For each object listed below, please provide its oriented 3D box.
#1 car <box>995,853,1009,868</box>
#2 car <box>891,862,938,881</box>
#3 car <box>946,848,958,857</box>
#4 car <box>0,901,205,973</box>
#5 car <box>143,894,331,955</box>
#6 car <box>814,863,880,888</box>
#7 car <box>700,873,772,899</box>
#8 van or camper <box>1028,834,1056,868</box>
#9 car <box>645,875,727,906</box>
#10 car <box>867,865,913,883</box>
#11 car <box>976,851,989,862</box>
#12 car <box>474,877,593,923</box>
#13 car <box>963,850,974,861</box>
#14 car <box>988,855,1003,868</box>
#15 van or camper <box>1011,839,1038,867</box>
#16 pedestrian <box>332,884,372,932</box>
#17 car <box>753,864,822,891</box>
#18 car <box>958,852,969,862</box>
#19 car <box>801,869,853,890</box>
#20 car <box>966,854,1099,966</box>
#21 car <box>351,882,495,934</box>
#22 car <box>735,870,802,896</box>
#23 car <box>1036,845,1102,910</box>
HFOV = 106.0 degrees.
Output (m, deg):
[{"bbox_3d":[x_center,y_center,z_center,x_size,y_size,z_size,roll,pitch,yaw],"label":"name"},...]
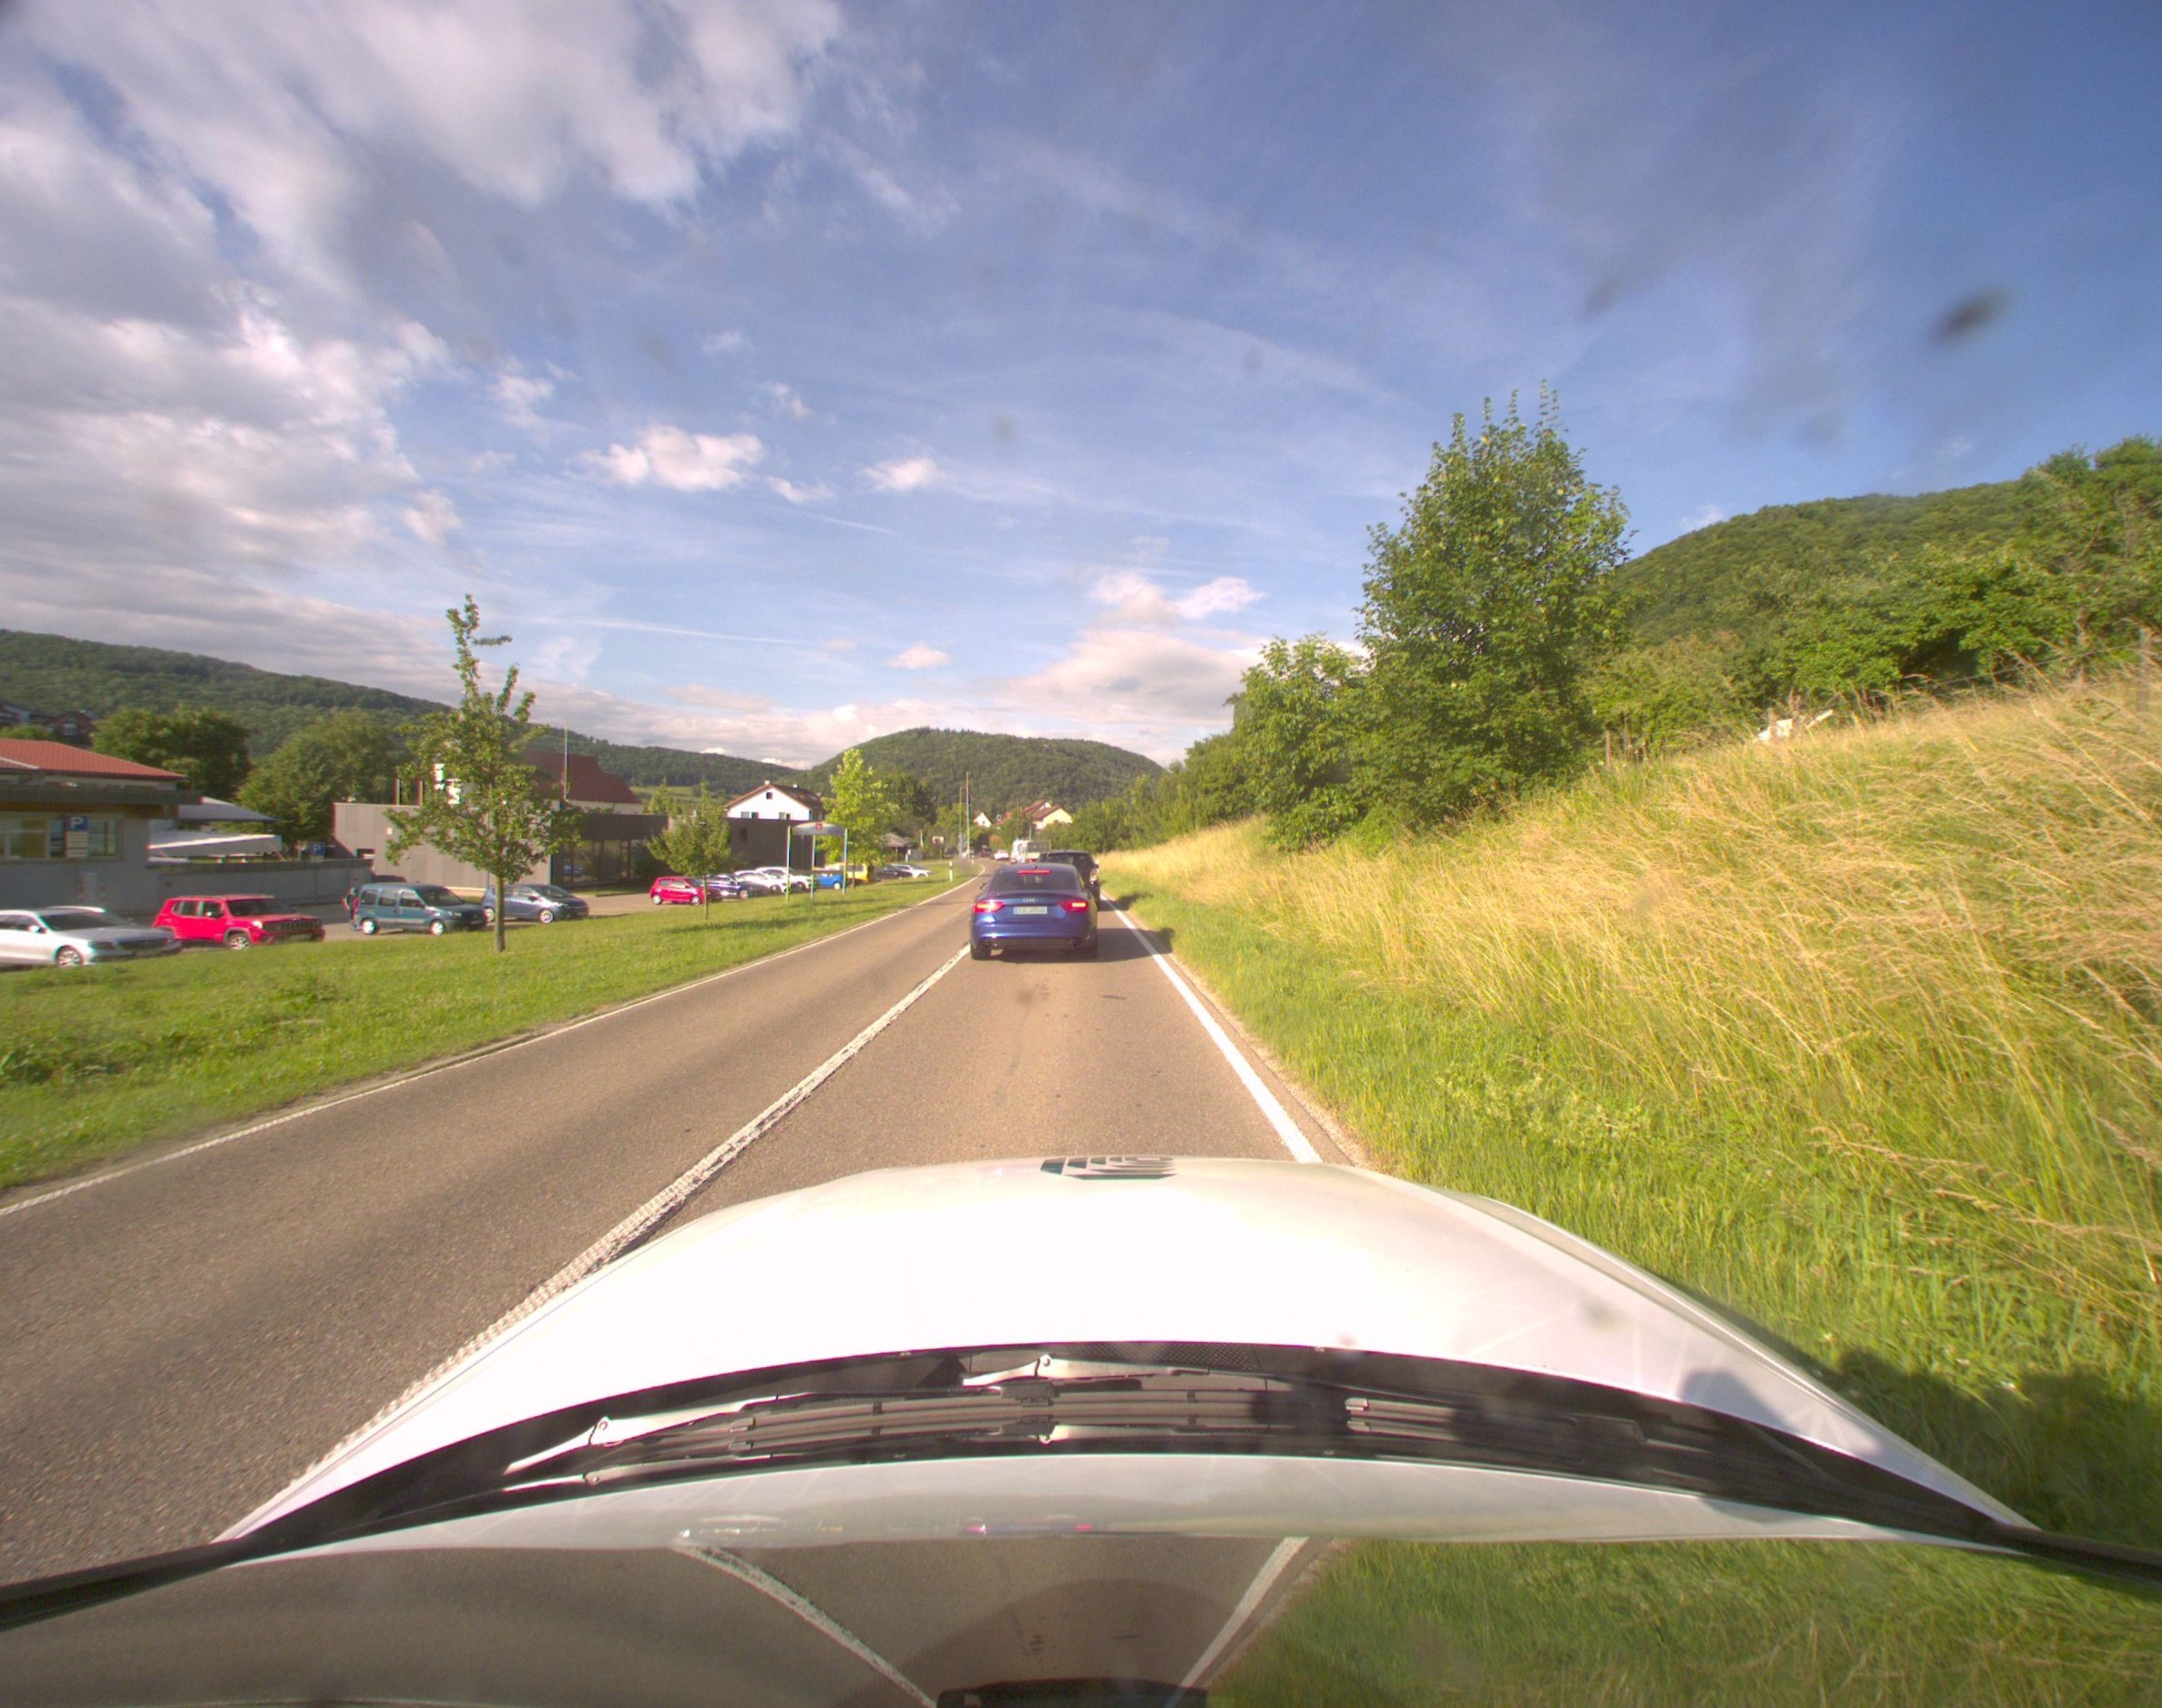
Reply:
[{"bbox_3d":[-11.020,0.921,113.775,1.659,1.924,3.988,-1,0,-8],"label":"car"},{"bbox_3d":[-15.925,1.666,77.952,4.012,1.660,1.660,-2,0,9],"label":"car"},{"bbox_3d":[-28.649,-0.266,180.413,1.961,1.924,3.974,-1,0,-19],"label":"car"},{"bbox_3d":[-25.375,2.070,20.622,4.614,1.589,2.004,-1,0,8],"label":"car"},{"bbox_3d":[-24.177,1.999,23.393,3.897,1.579,1.760,-1,0,8],"label":"car"},{"bbox_3d":[-18.247,1.650,63.563,4.526,1.815,1.846,-2,0,9],"label":"car"},{"bbox_3d":[-20.545,1.894,48.598,3.603,1.405,1.601,-2,0,9],"label":"car"},{"bbox_3d":[-3.122,-0.176,63.822,2.048,2.505,5.802,-1,0,-4],"label":"van or camper"},{"bbox_3d":[-21.112,1.944,43.591,3.603,1.444,1.652,-2,0,9],"label":"car"},{"bbox_3d":[-17.271,1.815,73.602,3.690,1.439,1.513,-2,0,9],"label":"car"},{"bbox_3d":[-17.094,0.441,141.739,1.680,1.924,3.980,-1,0,-15],"label":"car"},{"bbox_3d":[-22.468,1.868,33.489,3.796,1.722,1.736,-1,0,8],"label":"car"},{"bbox_3d":[-22.001,0.282,159.259,1.680,1.924,3.979,-1,0,-16],"label":"car"},{"bbox_3d":[-12.725,1.105,121.180,1.662,1.924,3.981,-1,0,-13],"label":"car"},{"bbox_3d":[-5.885,-0.072,83.741,2.280,2.714,5.750,-1,0,-8],"label":"van or camper"},{"bbox_3d":[-26.483,1.945,29.598,0.791,1.693,0.705,0,-1,1],"label":"pedestrian"},{"bbox_3d":[-19.816,1.610,55.041,4.053,1.673,1.601,-2,0,9],"label":"car"},{"bbox_3d":[-24.264,0.588,167.513,1.680,1.924,3.979,-1,0,-16],"label":"car"},{"bbox_3d":[-19.013,1.912,61.047,3.357,1.373,1.661,-2,0,1],"label":"car"},{"bbox_3d":[-0.644,0.742,12.524,1.737,1.450,3.516,-1,0,0],"label":"car"},{"bbox_3d":[-23.329,1.902,28.956,3.842,1.722,1.759,0,0,6],"label":"car"},{"bbox_3d":[-19.824,1.810,51.735,3.644,1.494,1.601,-2,0,9],"label":"car"},{"bbox_3d":[-0.396,0.606,22.324,1.642,1.625,3.513,1,0,-3],"label":"car"}]
